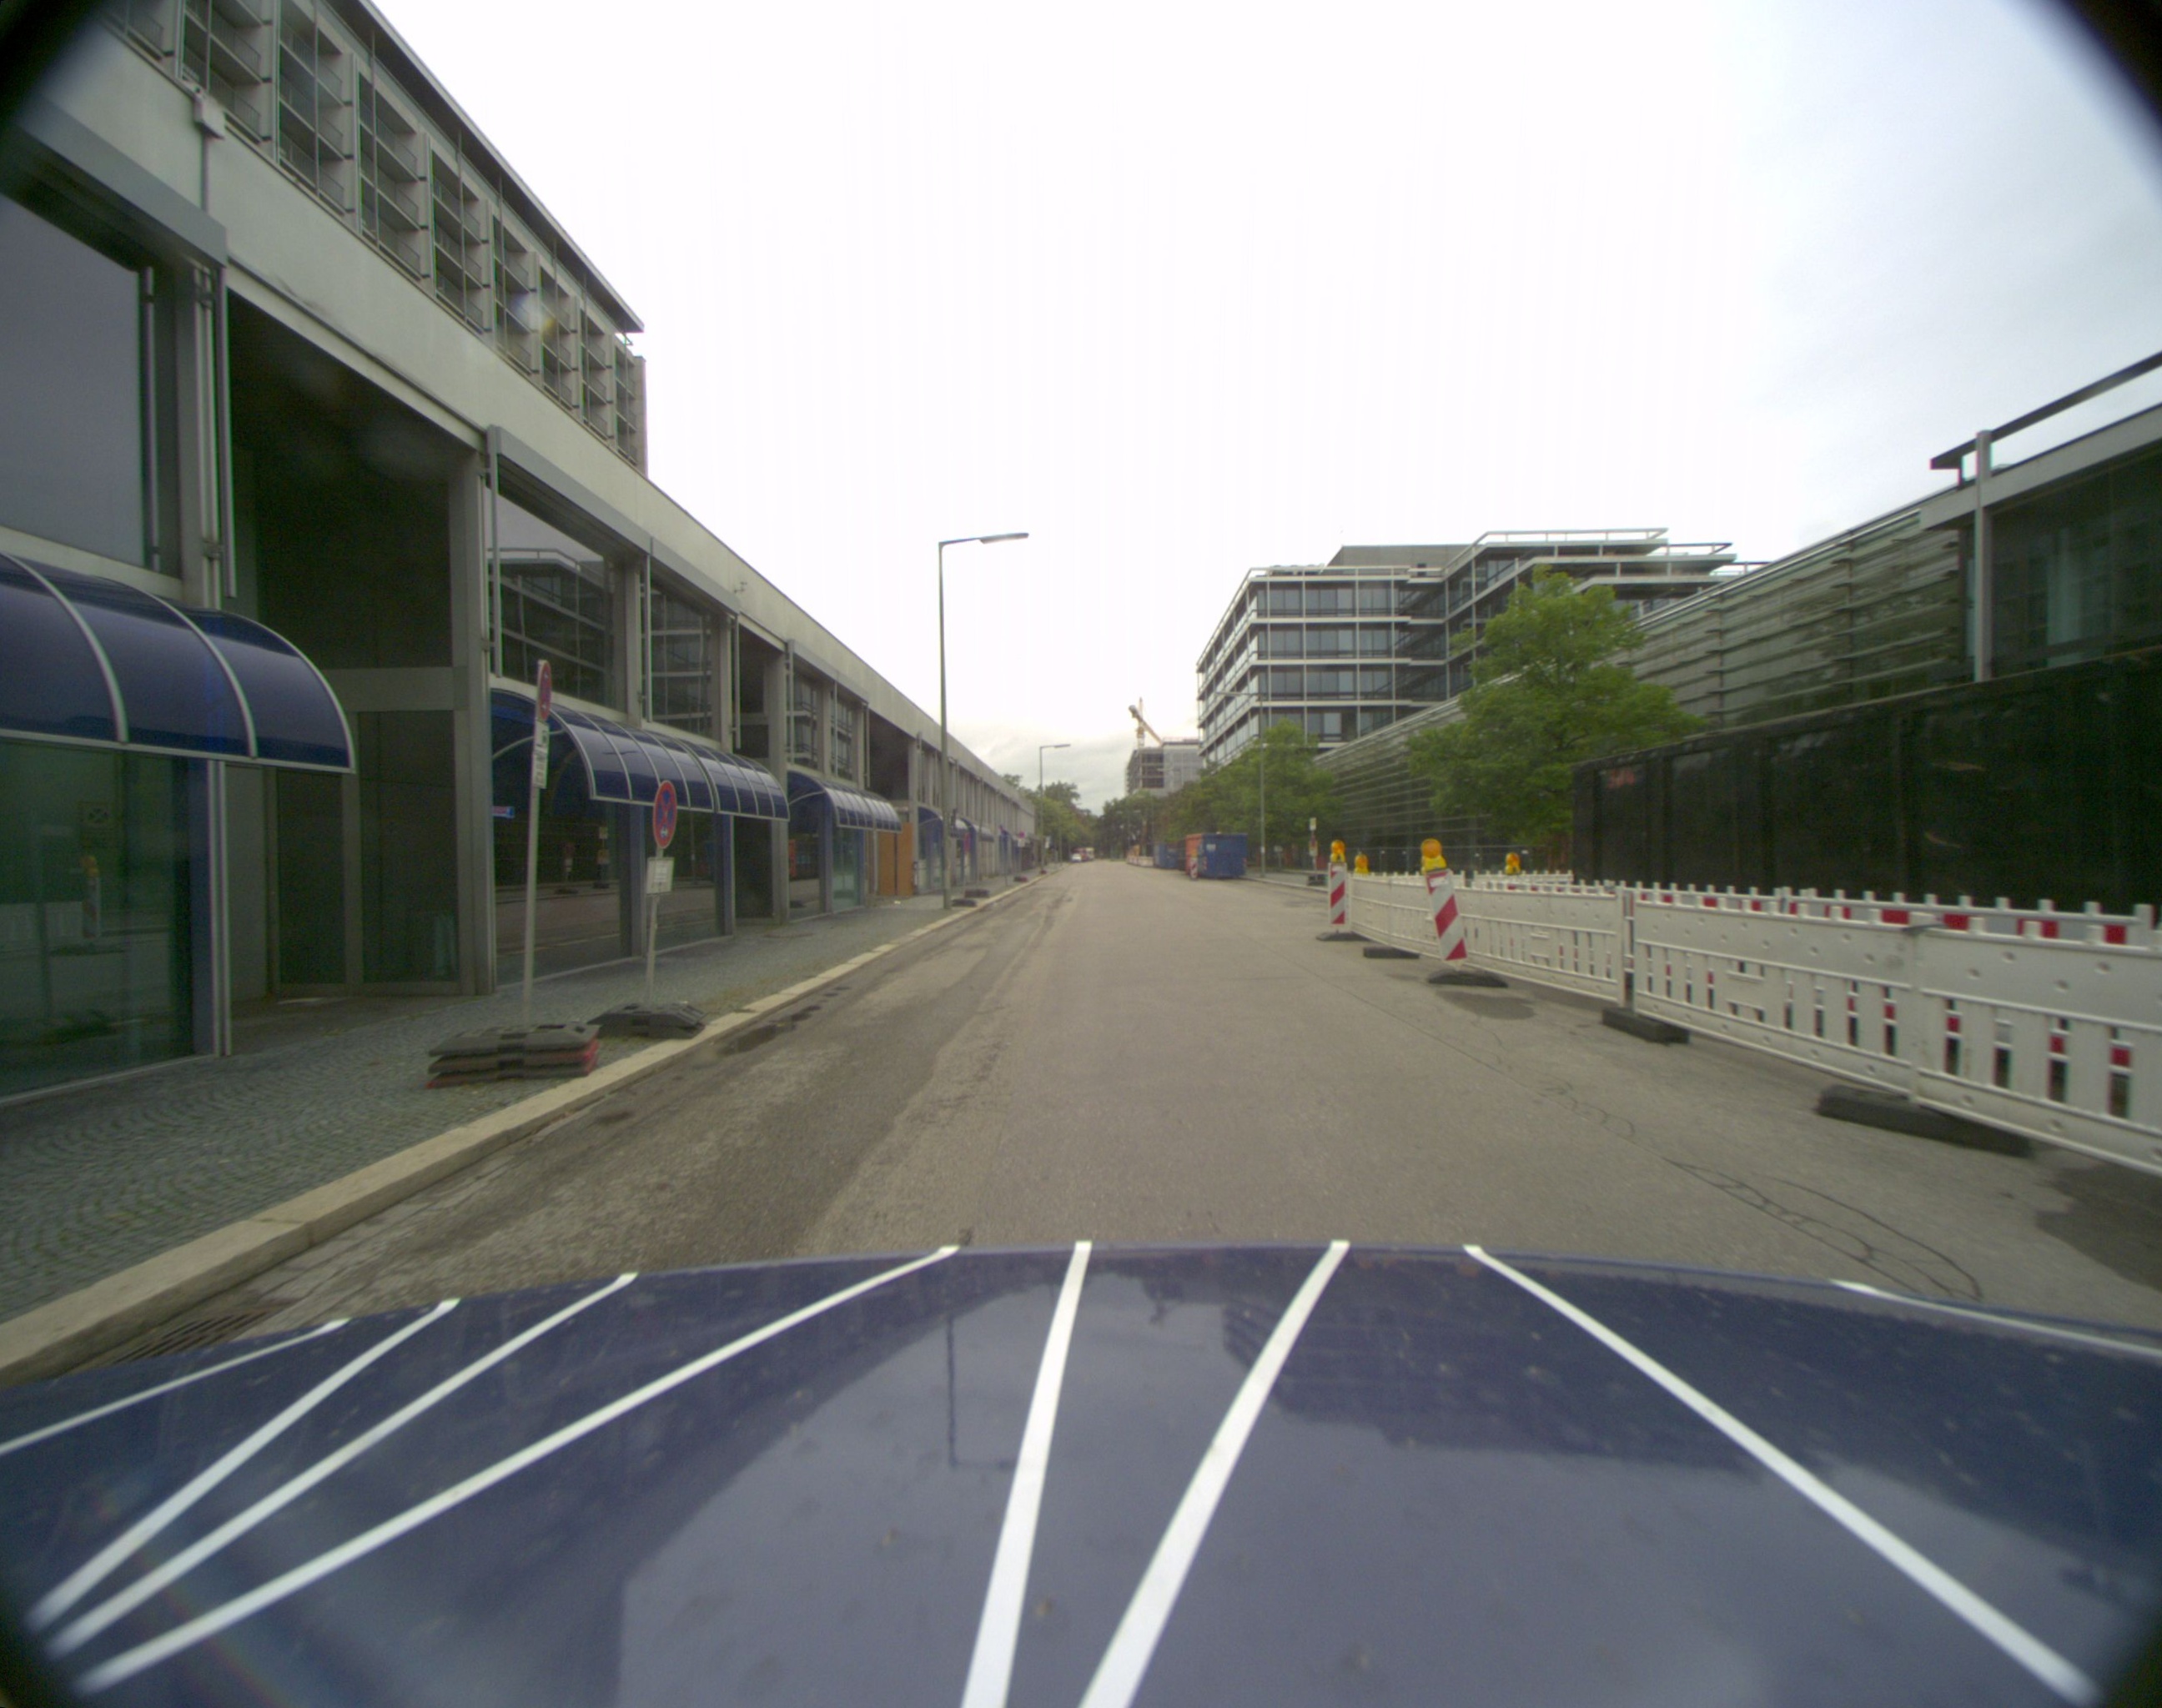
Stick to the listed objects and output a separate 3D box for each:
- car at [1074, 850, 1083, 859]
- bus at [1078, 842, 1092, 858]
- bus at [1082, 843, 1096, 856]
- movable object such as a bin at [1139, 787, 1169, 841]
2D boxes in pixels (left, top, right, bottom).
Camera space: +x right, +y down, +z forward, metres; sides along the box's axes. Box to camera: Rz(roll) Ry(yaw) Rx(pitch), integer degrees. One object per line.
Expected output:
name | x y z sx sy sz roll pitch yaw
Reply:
car | -0.393 0.016 134.095 1.536 1.483 4.059 0 1 -1
bus | 0.737 -0.757 141.675 2.077 2.789 6.274 0 1 6
bus | 1.671 -0.928 155.638 2.076 2.714 5.871 0 1 10
movable object such as a bin | 9.465 -5.054 99.794 2.911 6.527 11.782 0 1 1
